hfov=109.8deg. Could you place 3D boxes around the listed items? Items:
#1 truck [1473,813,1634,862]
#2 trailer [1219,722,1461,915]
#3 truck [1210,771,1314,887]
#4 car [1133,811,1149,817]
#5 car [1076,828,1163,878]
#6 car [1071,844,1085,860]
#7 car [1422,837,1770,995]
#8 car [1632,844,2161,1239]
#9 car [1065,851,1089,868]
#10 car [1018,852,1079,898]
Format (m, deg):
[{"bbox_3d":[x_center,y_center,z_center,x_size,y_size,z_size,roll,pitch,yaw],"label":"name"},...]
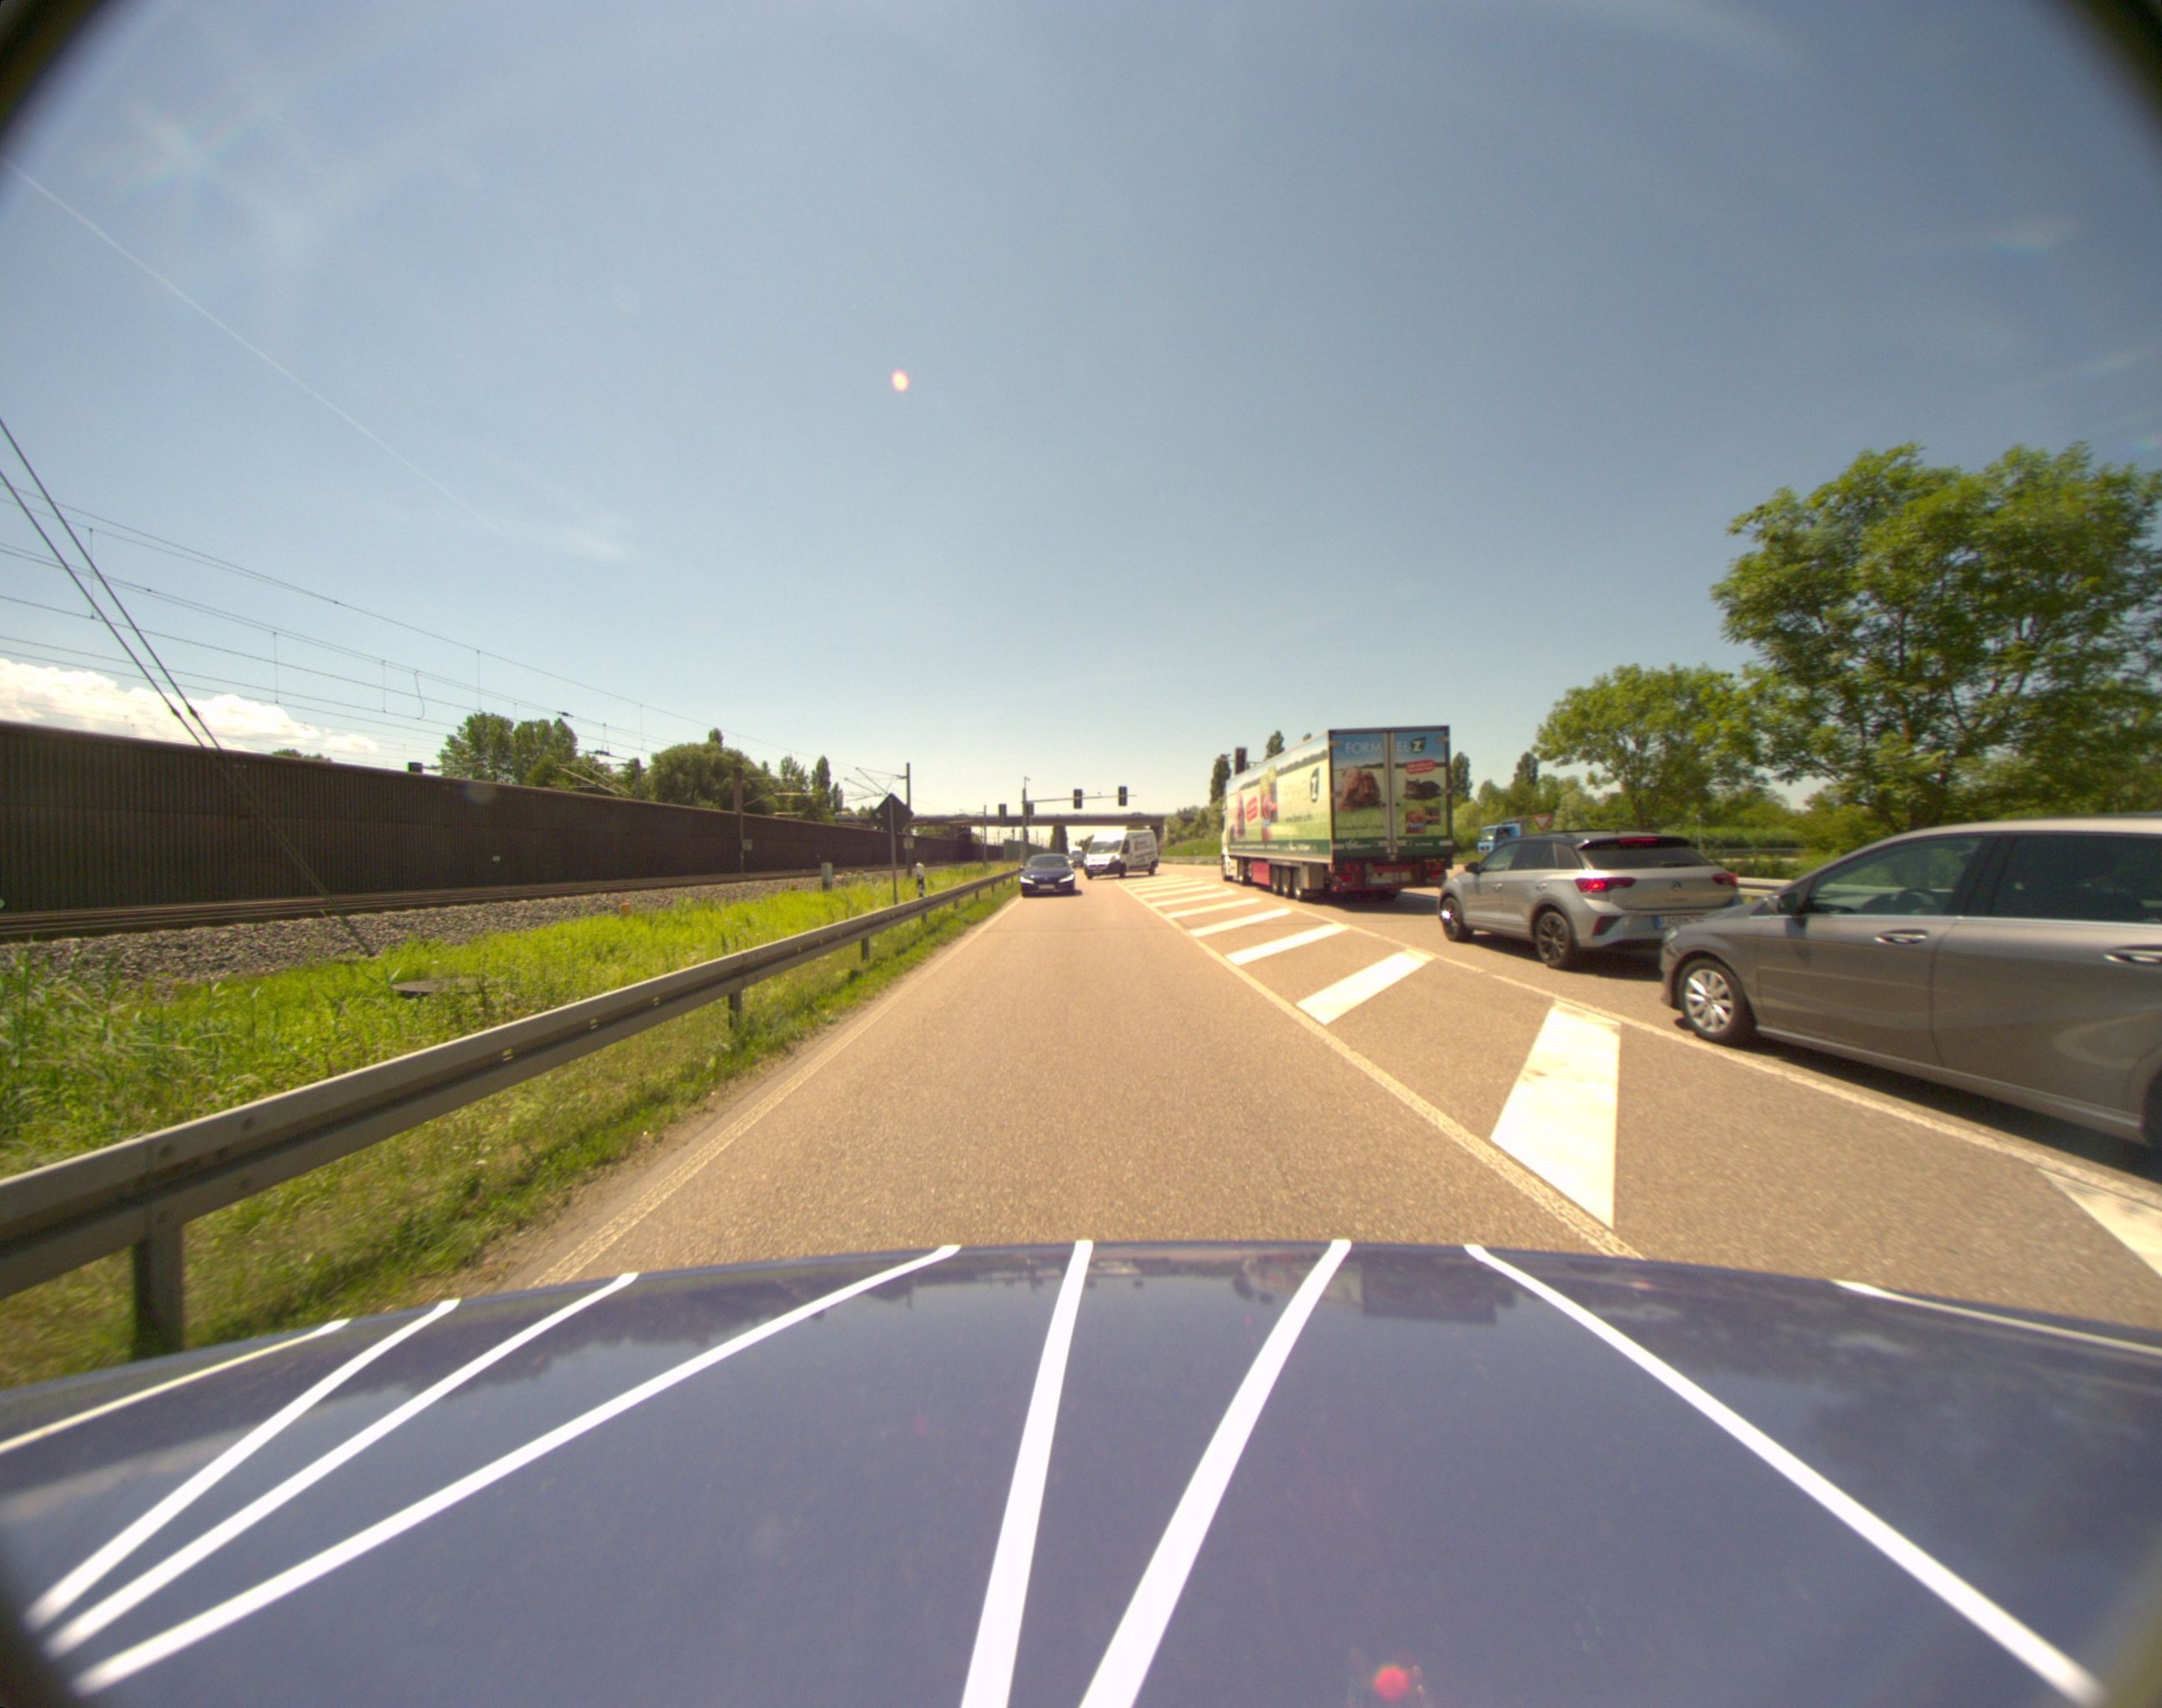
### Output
[{"bbox_3d":[32.028,-1.093,51.758,9.168,3.177,2.696,0,1,2],"label":"truck"},{"bbox_3d":[6.806,-0.834,23.238,2.696,4.021,14.123,-2,1,1],"label":"trailer"},{"bbox_3d":[6.937,-0.916,29.996,2.696,4.022,5.825,-2,1,1],"label":"truck"},{"bbox_3d":[13.603,-9.057,172.146,3.623,1.359,1.503,0,-1,2],"label":"car"},{"bbox_3d":[2.188,-0.091,40.798,2.224,2.481,5.993,0,1,29],"label":"car"},{"bbox_3d":[-0.437,-0.309,117.444,1.911,2.427,4.648,-2,0,1],"label":"car"},{"bbox_3d":[6.124,0.609,9.735,1.716,1.553,4.154,-1,1,2],"label":"car"},{"bbox_3d":[5.082,0.719,3.859,1.627,1.529,4.385,0,0,4],"label":"car"},{"bbox_3d":[-0.313,0.427,65.256,1.911,1.356,4.648,-2,0,1],"label":"car"},{"bbox_3d":[-1.067,0.692,27.143,1.847,1.415,4.562,-2,1,1],"label":"car"}]
